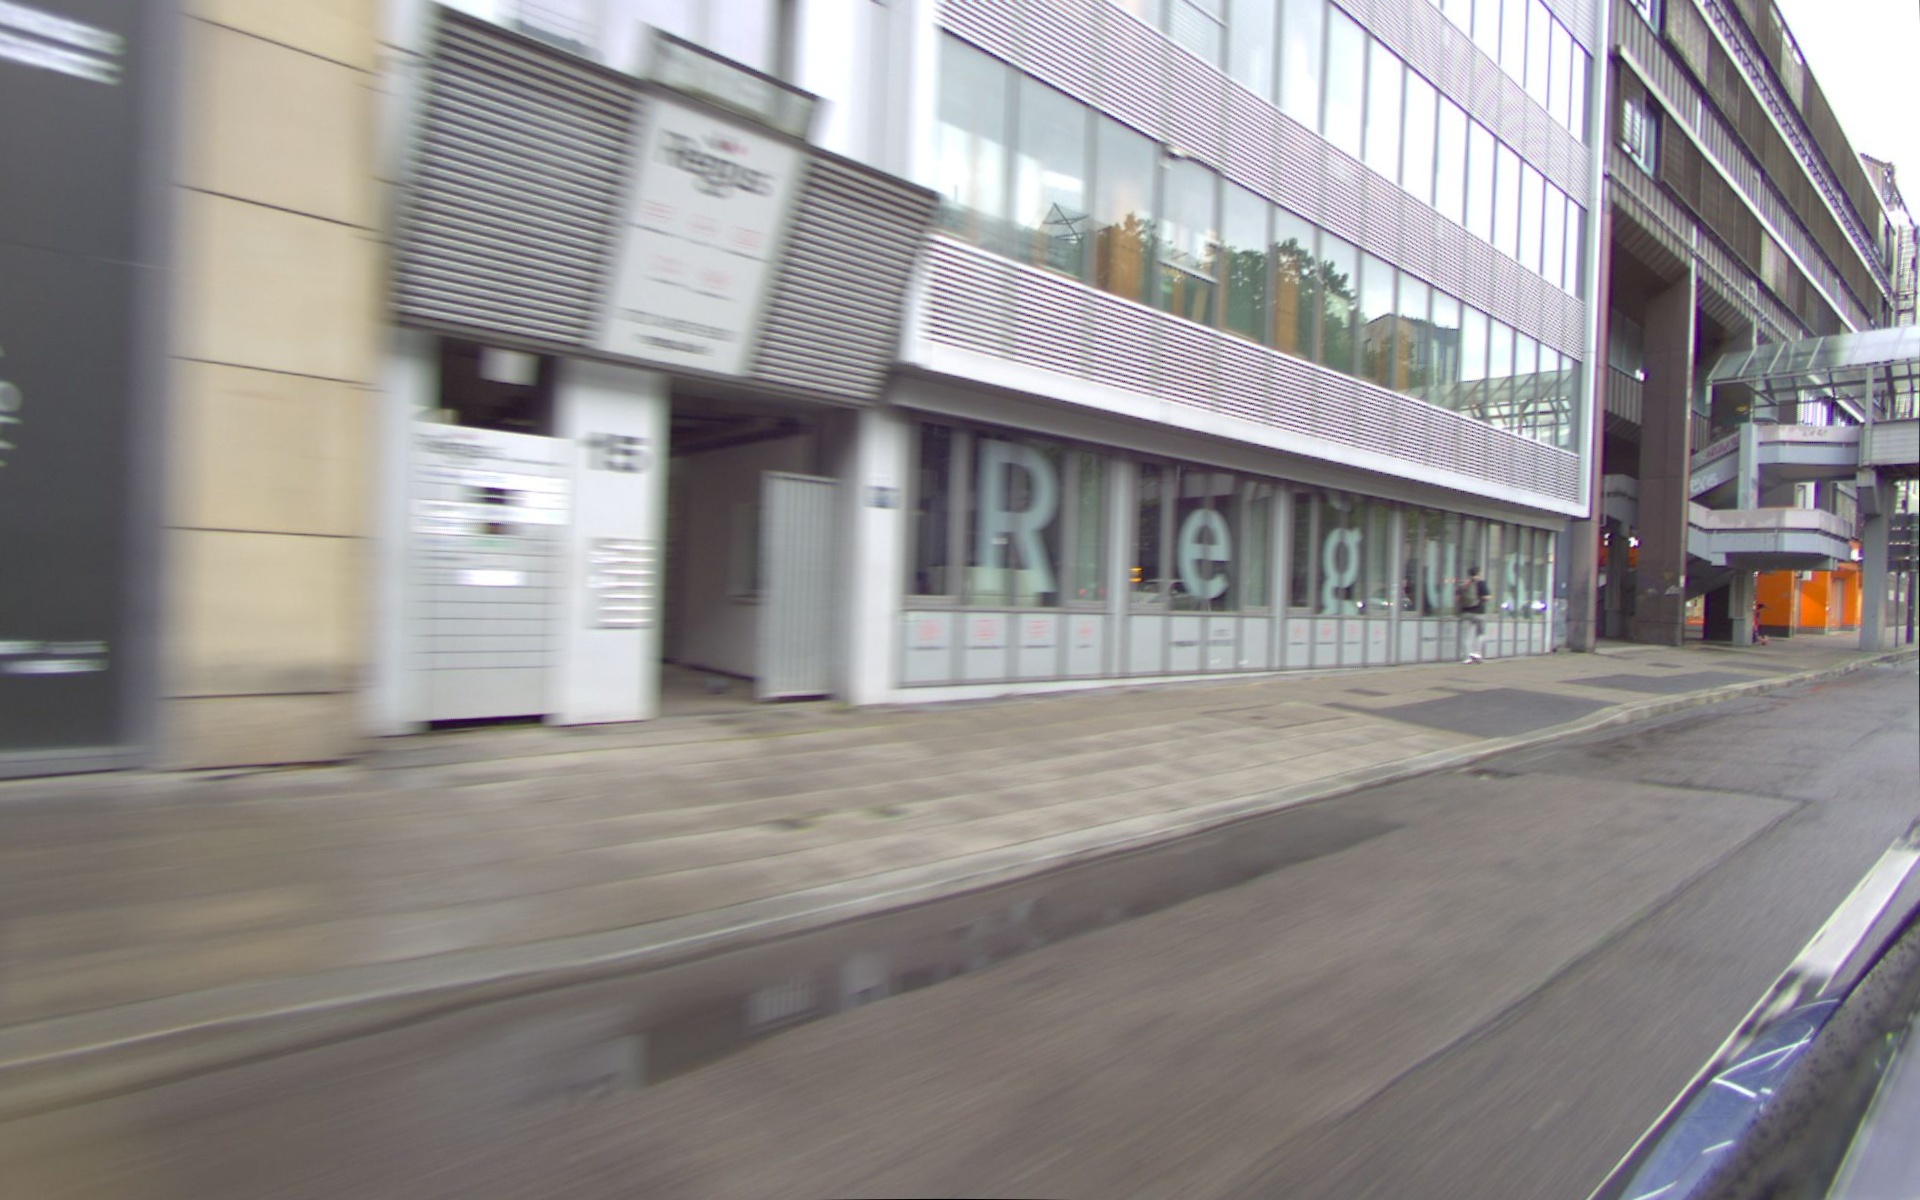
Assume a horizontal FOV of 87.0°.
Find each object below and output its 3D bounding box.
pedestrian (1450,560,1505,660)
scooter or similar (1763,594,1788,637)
[{"bbox_3d":[9.529,0.165,18.631,0.776,1.794,0.636,0,1,-40],"label":"pedestrian"},{"bbox_3d":[24.703,0.455,30.642,1.370,1.271,0.350,1,0,-41],"label":"scooter or similar"}]
